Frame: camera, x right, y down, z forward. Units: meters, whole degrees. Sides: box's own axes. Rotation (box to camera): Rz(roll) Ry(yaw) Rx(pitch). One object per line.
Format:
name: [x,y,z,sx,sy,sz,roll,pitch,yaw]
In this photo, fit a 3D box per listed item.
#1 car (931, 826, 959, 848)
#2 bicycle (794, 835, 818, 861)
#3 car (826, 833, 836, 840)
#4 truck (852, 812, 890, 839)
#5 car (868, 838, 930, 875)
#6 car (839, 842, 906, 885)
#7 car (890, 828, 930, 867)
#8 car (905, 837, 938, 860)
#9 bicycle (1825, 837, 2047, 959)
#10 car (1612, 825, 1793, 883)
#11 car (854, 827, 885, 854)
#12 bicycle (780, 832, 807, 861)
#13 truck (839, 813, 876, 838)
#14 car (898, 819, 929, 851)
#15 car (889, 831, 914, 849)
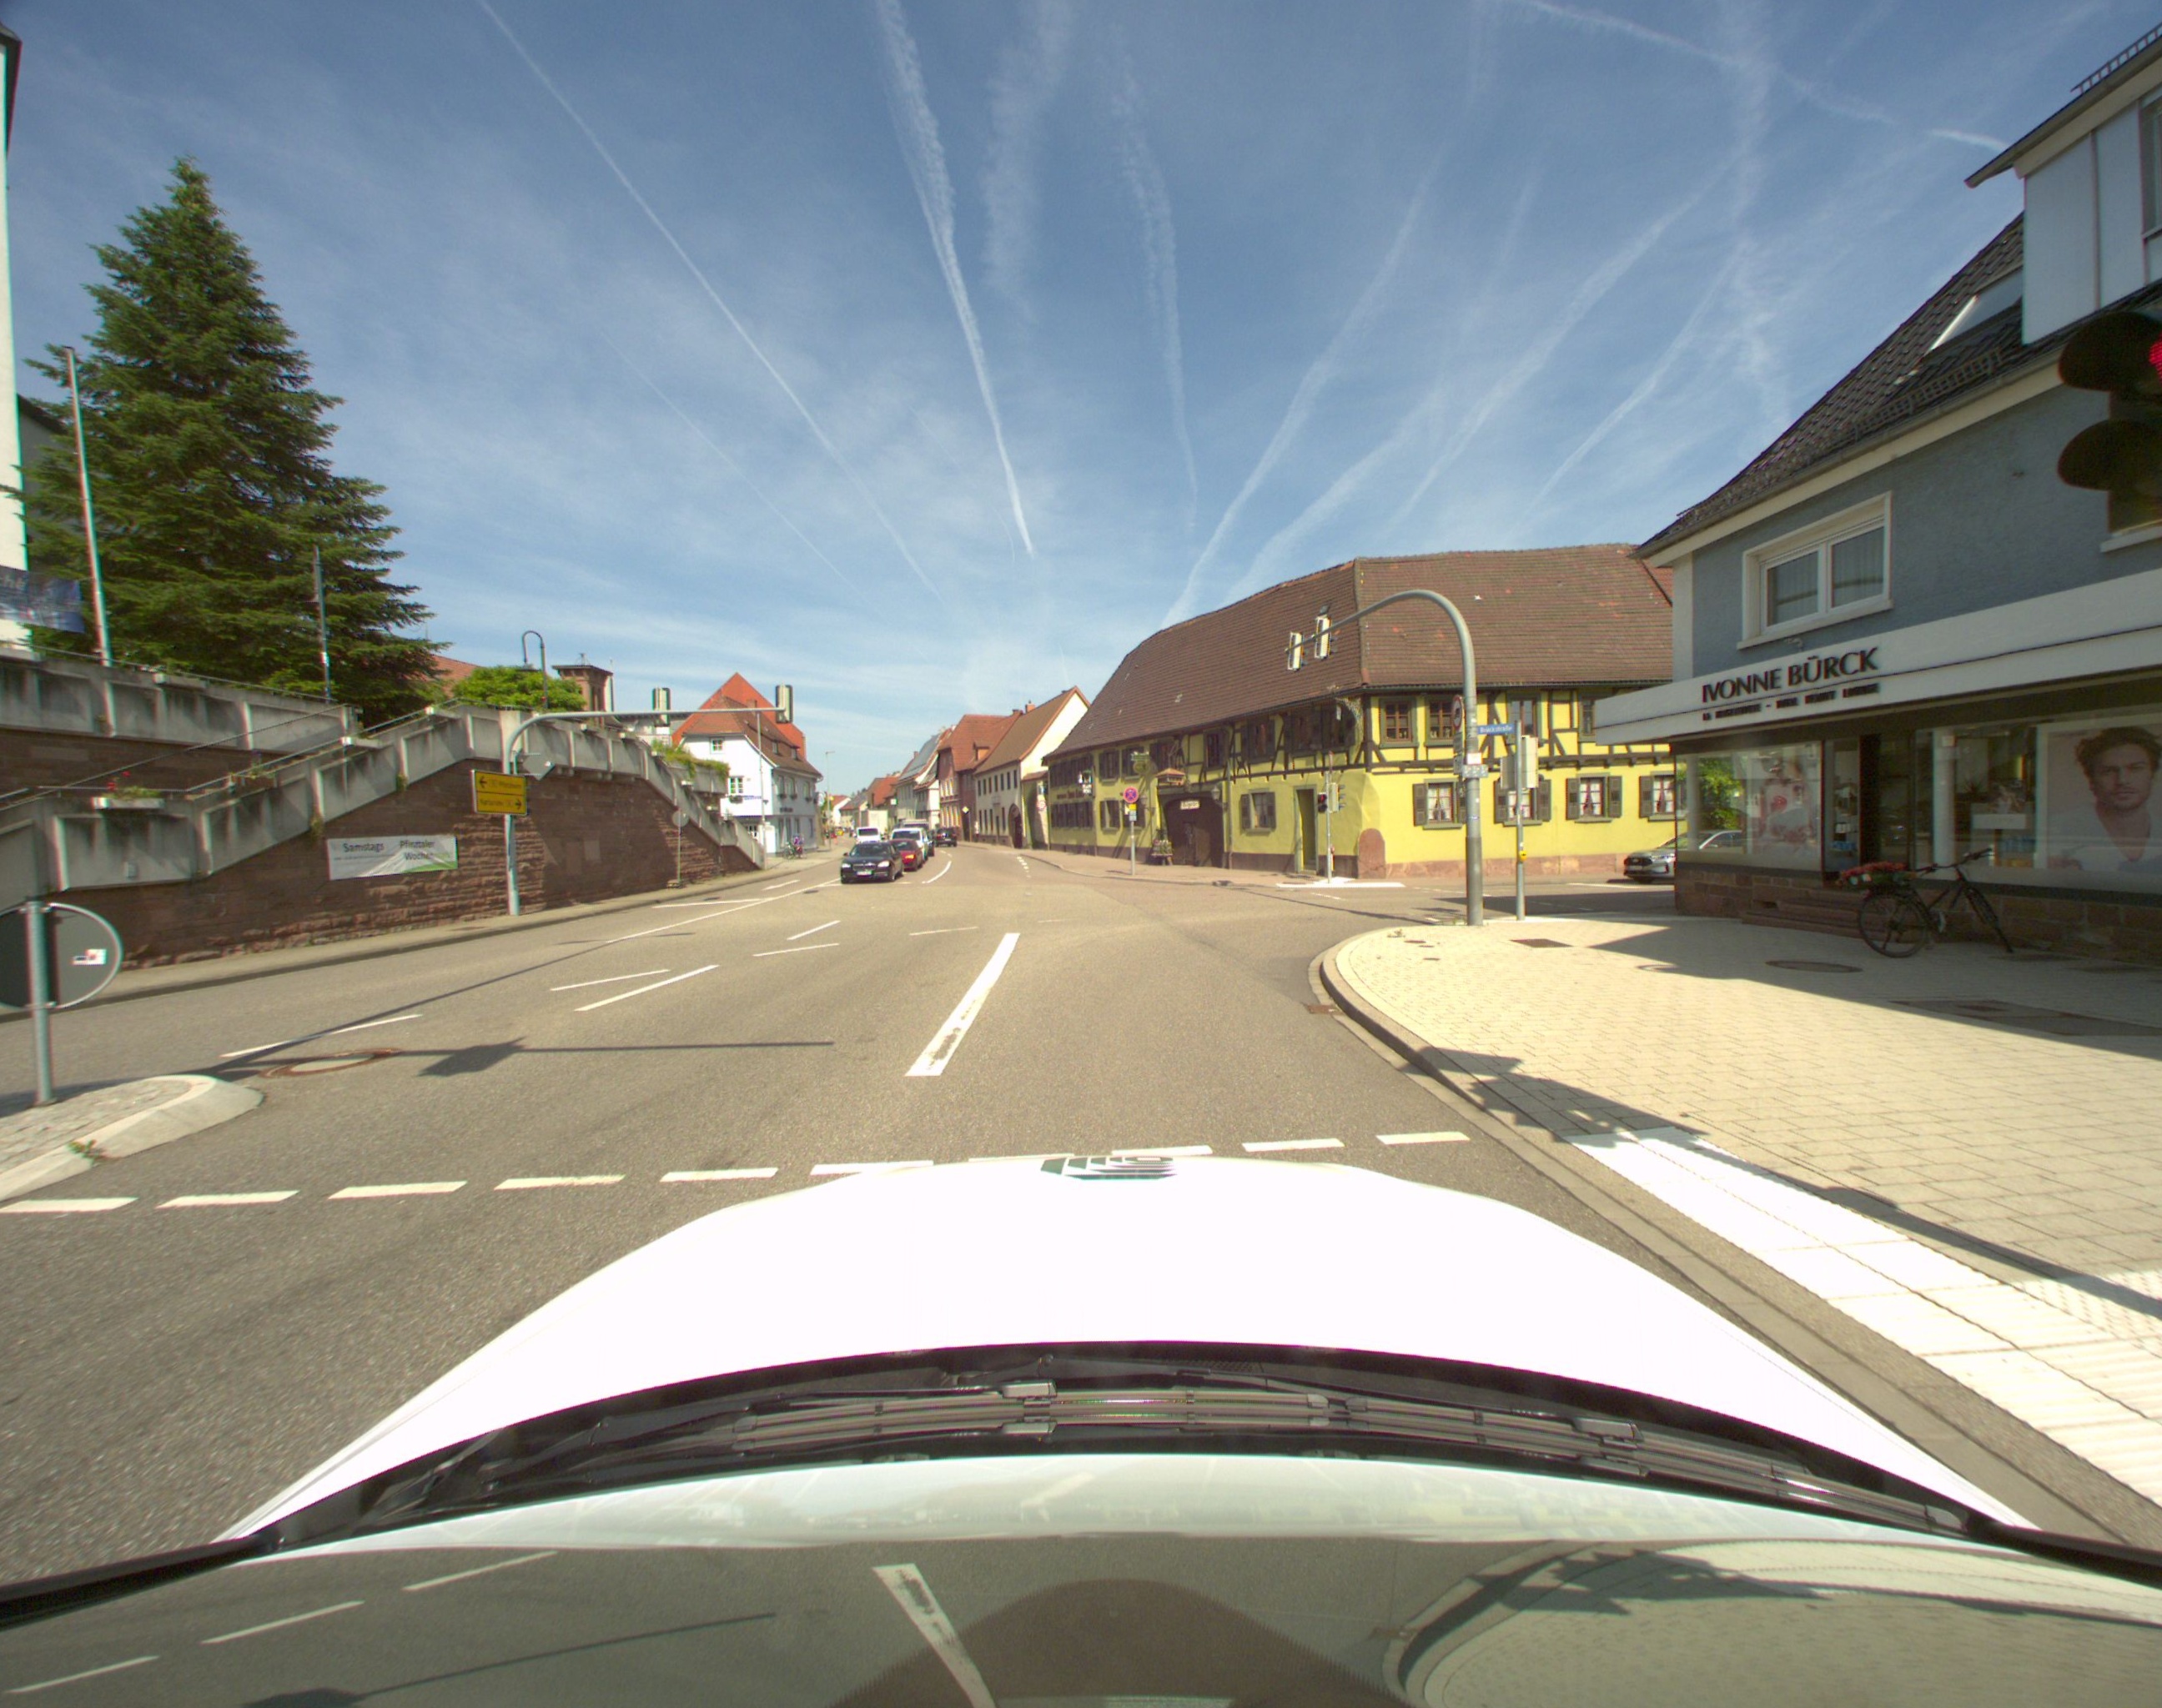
car: [-11.657,-1.486,69.579,1.824,1.738,3.984,-3,2,-16]
bicycle: [-17.484,-0.389,51.813,0.555,1.607,2.565,1,1,3]
car: [-44.902,-3.101,146.359,1.255,1.262,2.809,0,1,-27]
truck: [-28.764,-3.860,111.282,3.239,3.549,9.154,0,1,-26]
car: [-8.421,0.069,38.056,2.156,1.515,4.939,-1,2,-5]
car: [-7.857,0.311,31.053,1.818,1.434,4.240,-2,2,-6]
car: [-9.239,-0.425,44.304,1.820,1.906,4.950,-2,2,-8]
car: [-10.083,-0.394,51.289,1.579,1.384,3.538,0,1,-18]
bicycle: [9.328,0.463,8.922,1.796,1.234,0.550,-2,1,2]
car: [18.912,-0.008,24.882,4.409,1.610,1.757,-1,0,-7]
car: [-16.736,-1.107,64.179,2.142,1.966,5.249,-3,2,-16]
bicycle: [-18.404,-0.496,52.197,0.638,1.779,2.673,1,1,3]
truck: [-33.068,-4.072,120.244,3.176,3.460,10.620,0,1,-27]
car: [-12.311,-1.417,59.662,1.763,2.245,4.525,0,1,-18]
car: [-16.003,-1.284,72.498,1.789,1.526,3.984,-3,2,-16]
